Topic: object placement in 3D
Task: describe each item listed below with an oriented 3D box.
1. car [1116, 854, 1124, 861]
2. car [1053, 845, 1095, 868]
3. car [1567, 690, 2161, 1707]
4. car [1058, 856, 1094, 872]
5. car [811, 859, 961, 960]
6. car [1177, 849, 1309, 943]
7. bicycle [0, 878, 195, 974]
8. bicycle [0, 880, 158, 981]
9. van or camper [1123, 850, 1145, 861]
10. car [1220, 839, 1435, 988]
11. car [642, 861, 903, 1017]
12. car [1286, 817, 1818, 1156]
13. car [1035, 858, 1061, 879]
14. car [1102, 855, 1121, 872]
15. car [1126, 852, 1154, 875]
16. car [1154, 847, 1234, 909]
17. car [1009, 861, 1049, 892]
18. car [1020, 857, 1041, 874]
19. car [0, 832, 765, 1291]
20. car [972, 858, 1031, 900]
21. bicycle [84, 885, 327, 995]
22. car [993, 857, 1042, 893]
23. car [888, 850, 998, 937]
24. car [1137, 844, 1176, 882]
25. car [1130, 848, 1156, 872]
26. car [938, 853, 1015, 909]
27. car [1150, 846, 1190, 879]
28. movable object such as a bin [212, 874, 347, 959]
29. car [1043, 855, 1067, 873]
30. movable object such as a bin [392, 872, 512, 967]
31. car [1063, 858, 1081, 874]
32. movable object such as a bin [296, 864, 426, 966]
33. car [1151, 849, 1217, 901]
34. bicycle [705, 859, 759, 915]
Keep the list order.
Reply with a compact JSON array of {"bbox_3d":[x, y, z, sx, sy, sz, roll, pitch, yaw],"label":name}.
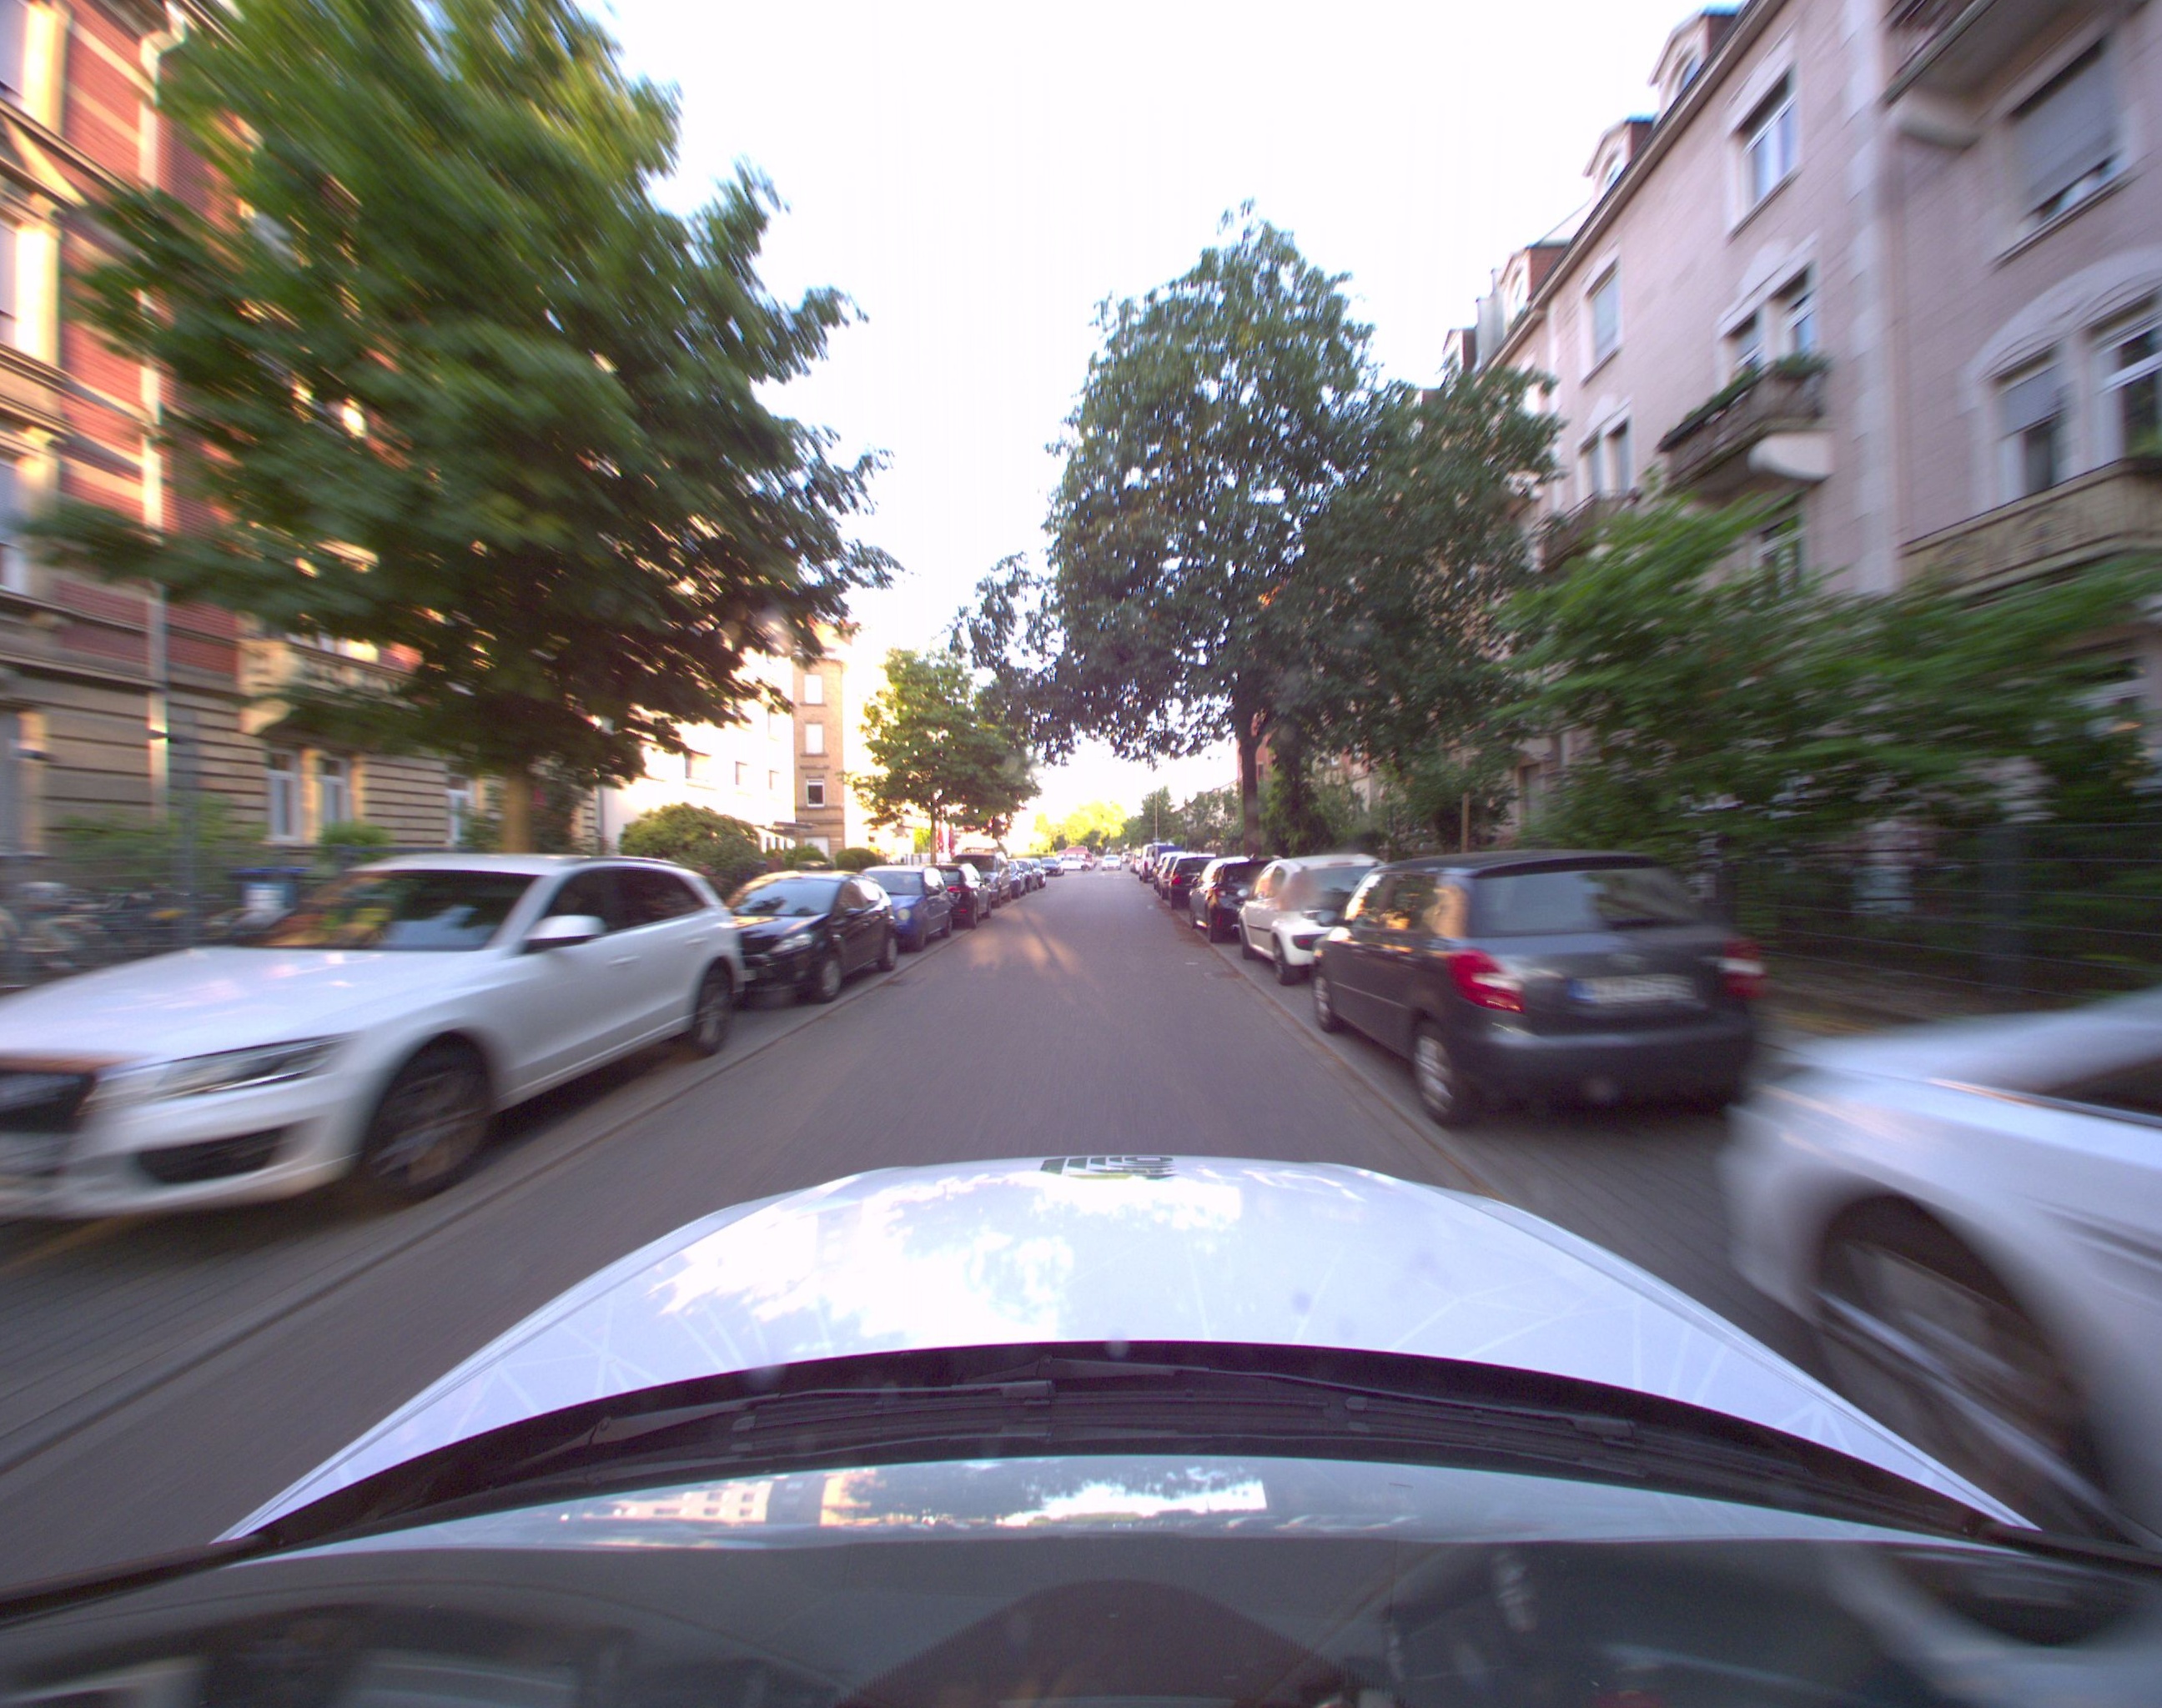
[{"bbox_3d":[8.671,0.795,182.890,1.709,1.596,3.484,-1,0,2],"label":"car"},{"bbox_3d":[-0.696,0.290,86.207,4.336,2.318,1.745,-1,0,0],"label":"car"},{"bbox_3d":[2.642,0.552,0.553,1.792,1.711,4.599,-2,-1,-1],"label":"car"},{"bbox_3d":[-0.548,1.031,83.666,3.609,1.461,1.605,-1,0,-2],"label":"car"},{"bbox_3d":[-3.449,0.912,15.123,1.709,1.566,3.789,-1,0,2],"label":"car"},{"bbox_3d":[2.895,0.707,15.416,1.680,1.441,4.211,-4,-1,2],"label":"car"},{"bbox_3d":[-13.485,0.941,10.762,2.528,1.192,0.641,1,0,-9],"label":"bicycle"},{"bbox_3d":[-13.406,0.947,10.246,2.528,1.192,0.641,1,0,-9],"label":"bicycle"},{"bbox_3d":[13.529,0.369,208.519,5.262,2.791,1.547,-1,0,-10],"label":"van or camper"},{"bbox_3d":[3.065,0.682,10.923,1.682,1.606,3.747,-1,-1,-1],"label":"car"},{"bbox_3d":[-3.592,0.901,10.262,1.709,1.566,3.782,-1,-1,2],"label":"car"},{"bbox_3d":[2.786,0.665,6.037,1.679,1.606,4.213,-1,-1,3],"label":"car"},{"bbox_3d":[-2.554,1.135,63.457,1.709,1.486,3.633,-1,-1,3],"label":"car"},{"bbox_3d":[3.002,0.956,81.215,1.806,1.596,3.484,-1,0,2],"label":"car"},{"bbox_3d":[4.271,0.718,59.645,1.682,1.606,3.938,-1,-1,-1],"label":"car"},{"bbox_3d":[3.160,0.657,23.506,1.682,1.606,3.938,-1,-1,-1],"label":"car"},{"bbox_3d":[-2.590,1.106,41.259,1.592,1.441,3.840,-1,0,3],"label":"car"},{"bbox_3d":[-4.623,1.061,75.076,1.711,1.441,3.628,-2,0,-1],"label":"car"},{"bbox_3d":[-3.964,0.797,5.308,1.914,1.717,4.430,-1,0,2],"label":"car"},{"bbox_3d":[-2.956,0.902,31.055,1.709,1.465,3.989,-1,0,2],"label":"car"},{"bbox_3d":[-10.584,1.011,9.866,2.515,1.192,0.645,1,0,7],"label":"bicycle"},{"bbox_3d":[-2.759,0.877,35.804,1.709,1.441,3.632,-1,0,2],"label":"car"},{"bbox_3d":[-3.116,0.821,19.274,1.709,1.790,4.217,-1,0,2],"label":"car"},{"bbox_3d":[4.026,0.480,43.748,1.675,1.941,3.879,-1,-1,-1],"label":"car"},{"bbox_3d":[4.826,0.470,64.191,1.682,1.811,3.938,-1,-1,-1],"label":"car"},{"bbox_3d":[-3.239,0.789,26.039,1.709,1.596,4.521,-1,0,2],"label":"car"},{"bbox_3d":[4.315,0.400,40.018,1.534,1.521,3.430,-1,-1,-1],"label":"car"},{"bbox_3d":[-12.243,0.930,12.490,1.097,1.209,1.001,0,0,-12],"label":"movable object such as a bin"},{"bbox_3d":[-2.161,0.855,69.539,1.709,1.441,3.633,-1,0,3],"label":"car"},{"bbox_3d":[-9.456,0.961,12.289,1.007,1.321,1.007,0,0,6],"label":"movable object such as a bin"},{"bbox_3d":[-0.925,1.161,80.663,1.711,1.441,3.628,-1,0,-1],"label":"car"},{"bbox_3d":[-10.694,0.877,12.150,1.097,1.414,1.001,0,0,-12],"label":"movable object such as a bin"},{"bbox_3d":[3.405,0.675,27.647,1.682,1.606,3.938,-1,-1,-1],"label":"car"},{"bbox_3d":[-7.926,0.724,18.552,0.432,1.185,1.619,-2,0,2],"label":"bicycle"}]
